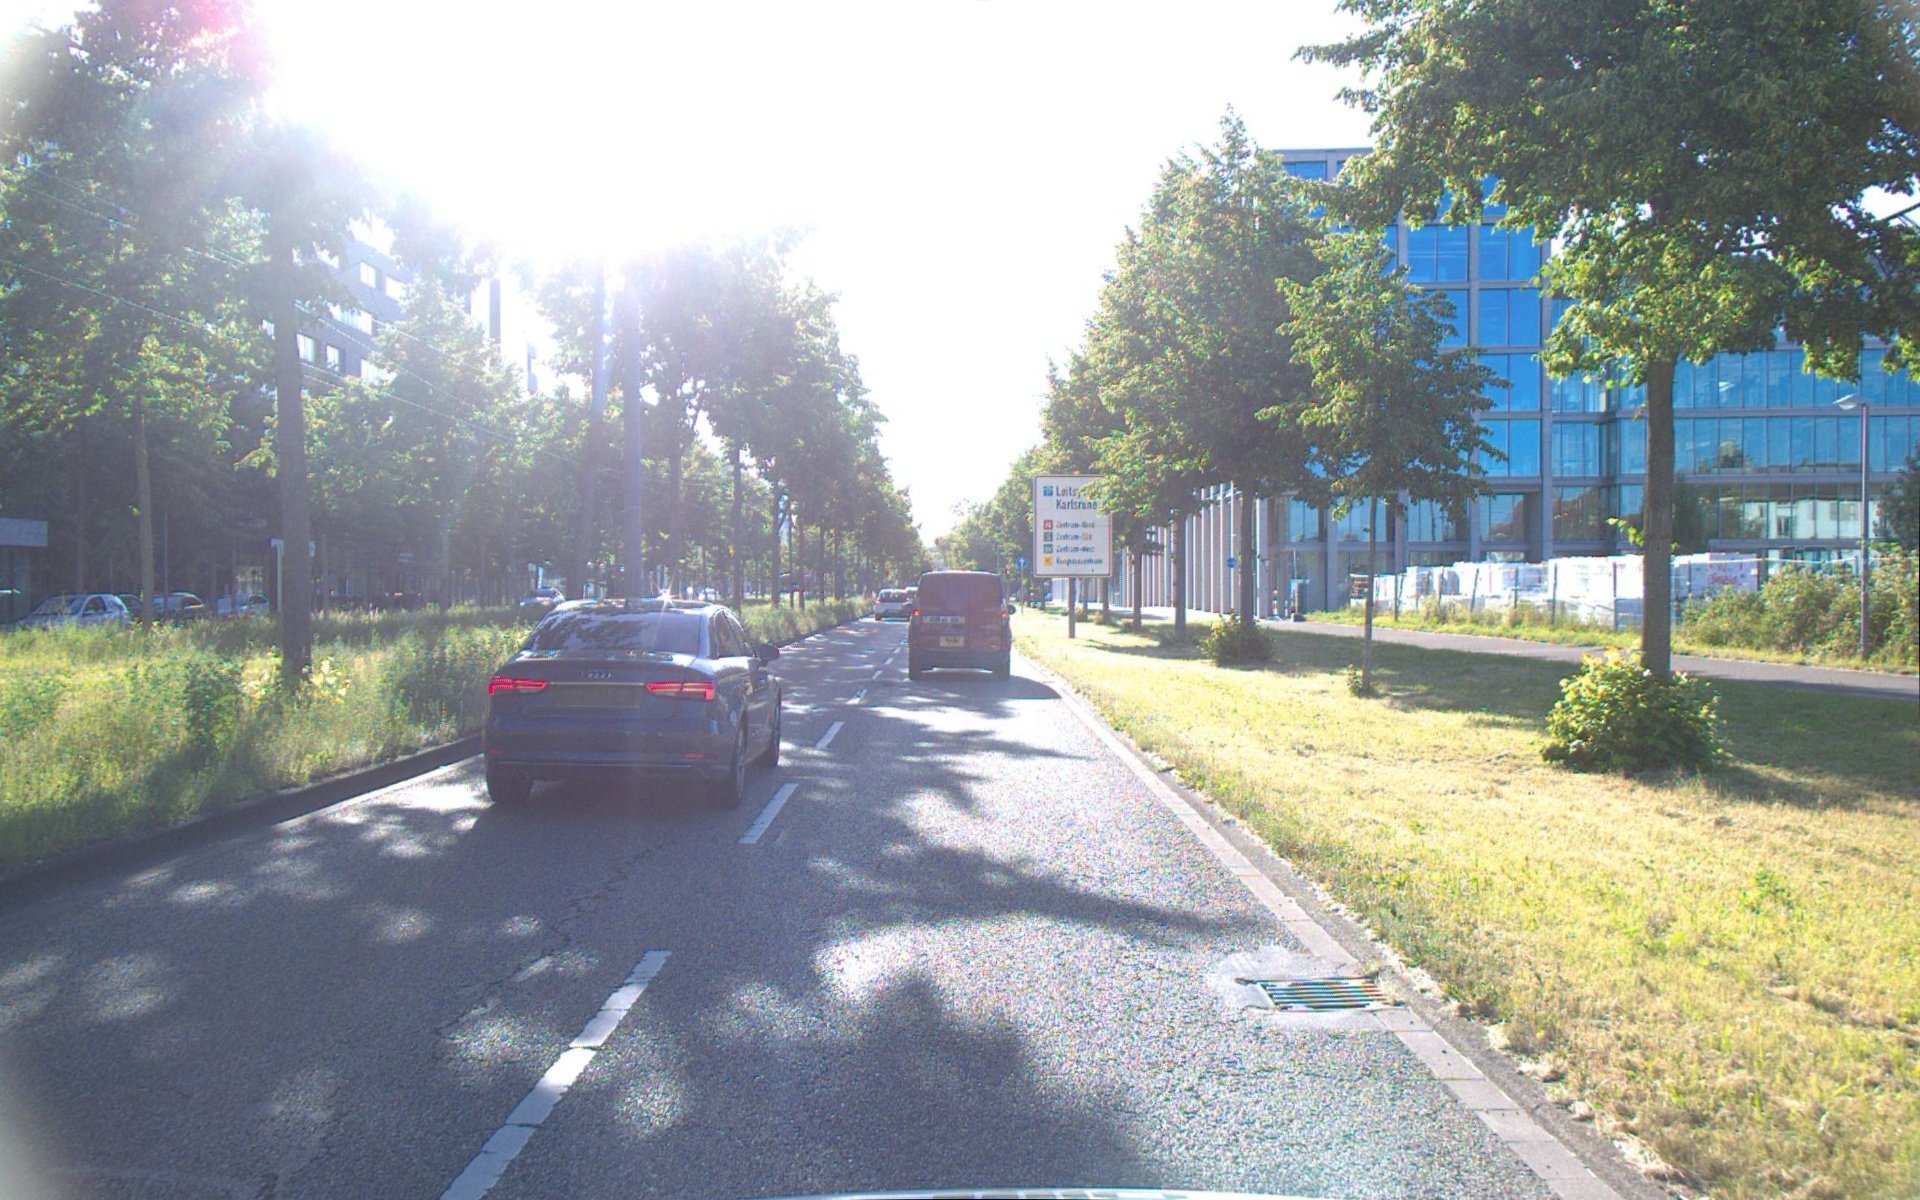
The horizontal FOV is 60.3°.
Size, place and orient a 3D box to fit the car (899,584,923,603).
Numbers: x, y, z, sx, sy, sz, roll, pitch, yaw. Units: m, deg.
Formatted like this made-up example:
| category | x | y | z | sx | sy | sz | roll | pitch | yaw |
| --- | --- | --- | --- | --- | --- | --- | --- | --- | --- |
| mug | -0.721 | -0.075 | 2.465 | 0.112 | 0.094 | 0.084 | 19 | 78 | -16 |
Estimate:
| category | x | y | z | sx | sy | sz | roll | pitch | yaw |
| --- | --- | --- | --- | --- | --- | --- | --- | --- | --- |
| car | -4.122 | -0.539 | 140.259 | 1.804 | 1.561 | 3.940 | 0 | -1 | 2 |

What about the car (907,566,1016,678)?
| category | x | y | z | sx | sy | sz | roll | pitch | yaw |
| --- | --- | --- | --- | --- | --- | --- | --- | --- | --- |
| car | -0.028 | 0.359 | 29.141 | 1.761 | 1.808 | 3.999 | 1 | 0 | -2 |

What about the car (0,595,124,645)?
| category | x | y | z | sx | sy | sz | roll | pitch | yaw |
| --- | --- | --- | --- | --- | --- | --- | --- | --- | --- |
| car | -24.308 | 0.518 | 44.577 | 1.732 | 1.260 | 3.485 | 0 | 0 | 1 |

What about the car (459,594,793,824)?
| category | x | y | z | sx | sy | sz | roll | pitch | yaw |
| --- | --- | --- | --- | --- | --- | --- | --- | --- | --- |
| car | -2.297 | 0.674 | 12.415 | 1.686 | 1.390 | 4.145 | 1 | 0 | -1 |

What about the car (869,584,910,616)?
| category | x | y | z | sx | sy | sz | roll | pitch | yaw |
| --- | --- | --- | --- | --- | --- | --- | --- | --- | --- |
| car | -3.353 | -0.027 | 78.610 | 1.903 | 1.466 | 3.998 | 0 | 0 | -2 |

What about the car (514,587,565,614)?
| category | x | y | z | sx | sy | sz | roll | pitch | yaw |
| --- | --- | --- | --- | --- | --- | --- | --- | --- | --- |
| car | -22.976 | 0.021 | 90.473 | 1.761 | 1.314 | 4.310 | -1 | 1 | -1 |

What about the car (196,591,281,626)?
| category | x | y | z | sx | sy | sz | roll | pitch | yaw |
| --- | --- | --- | --- | --- | --- | --- | --- | --- | --- |
| car | -31.015 | 0.329 | 71.230 | 1.680 | 1.445 | 4.545 | 0 | 0 | 0 |
